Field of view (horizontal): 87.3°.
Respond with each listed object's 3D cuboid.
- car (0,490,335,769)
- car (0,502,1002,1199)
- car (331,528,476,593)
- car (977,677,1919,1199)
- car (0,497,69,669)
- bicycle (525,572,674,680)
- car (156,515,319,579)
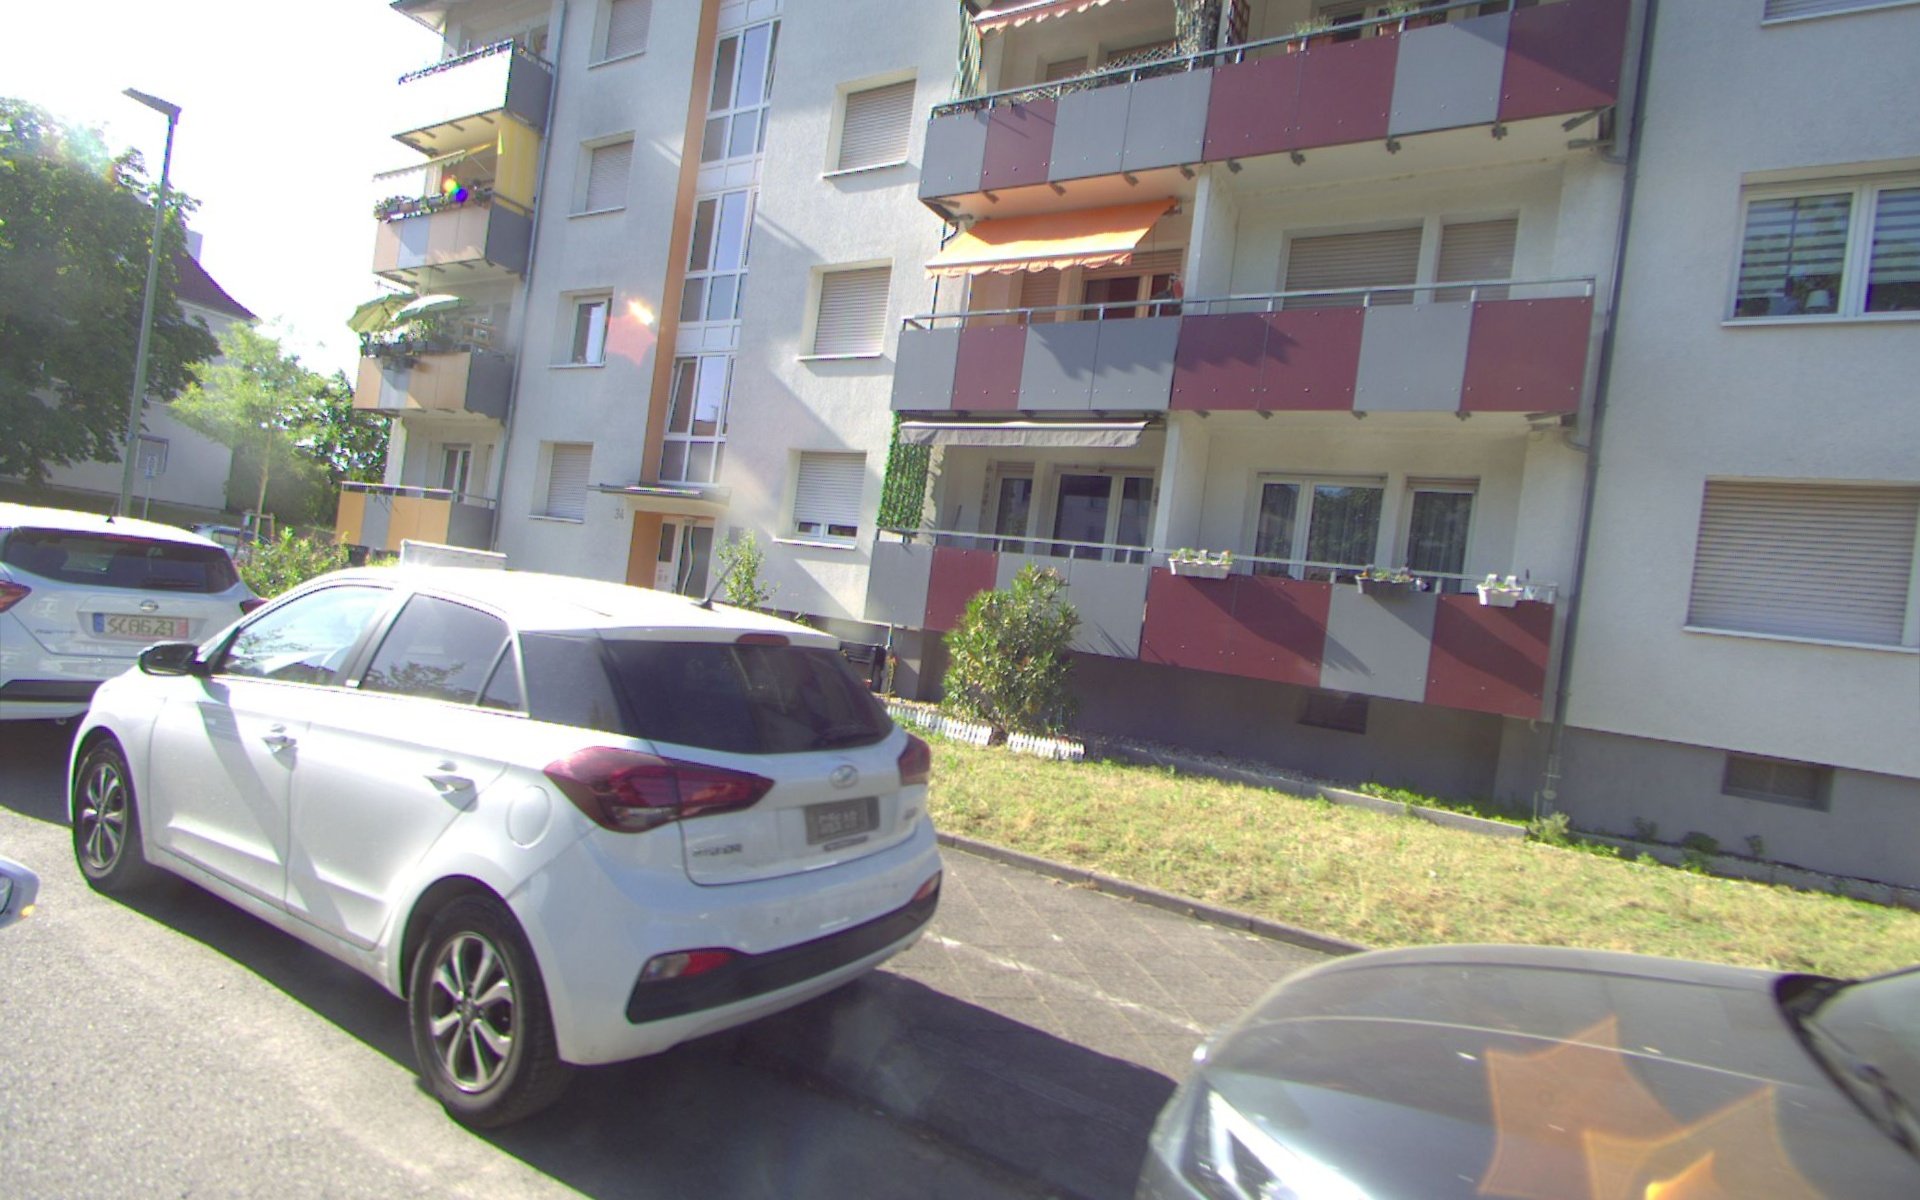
[{"bbox_3d":[-6.478,0.018,7.066,4.072,1.493,1.880,7,-1,33],"label":"car"},{"bbox_3d":[-2.087,0.559,4.167,4.084,1.453,1.723,7,0,32],"label":"car"},{"bbox_3d":[-20.732,-1.431,37.638,1.838,1.751,4.288,7,-1,31],"label":"car"},{"bbox_3d":[2.336,1.134,1.226,4.396,1.454,1.701,7,1,31],"label":"car"},{"bbox_3d":[-10.425,-0.427,9.407,4.131,1.482,1.853,7,-2,31],"label":"car"},{"bbox_3d":[-4.687,0.317,13.035,1.981,1.190,0.597,5,-1,31],"label":"bicycle"},{"bbox_3d":[-23.549,-1.691,32.938,1.630,1.446,3.896,7,-1,28],"label":"car"}]
